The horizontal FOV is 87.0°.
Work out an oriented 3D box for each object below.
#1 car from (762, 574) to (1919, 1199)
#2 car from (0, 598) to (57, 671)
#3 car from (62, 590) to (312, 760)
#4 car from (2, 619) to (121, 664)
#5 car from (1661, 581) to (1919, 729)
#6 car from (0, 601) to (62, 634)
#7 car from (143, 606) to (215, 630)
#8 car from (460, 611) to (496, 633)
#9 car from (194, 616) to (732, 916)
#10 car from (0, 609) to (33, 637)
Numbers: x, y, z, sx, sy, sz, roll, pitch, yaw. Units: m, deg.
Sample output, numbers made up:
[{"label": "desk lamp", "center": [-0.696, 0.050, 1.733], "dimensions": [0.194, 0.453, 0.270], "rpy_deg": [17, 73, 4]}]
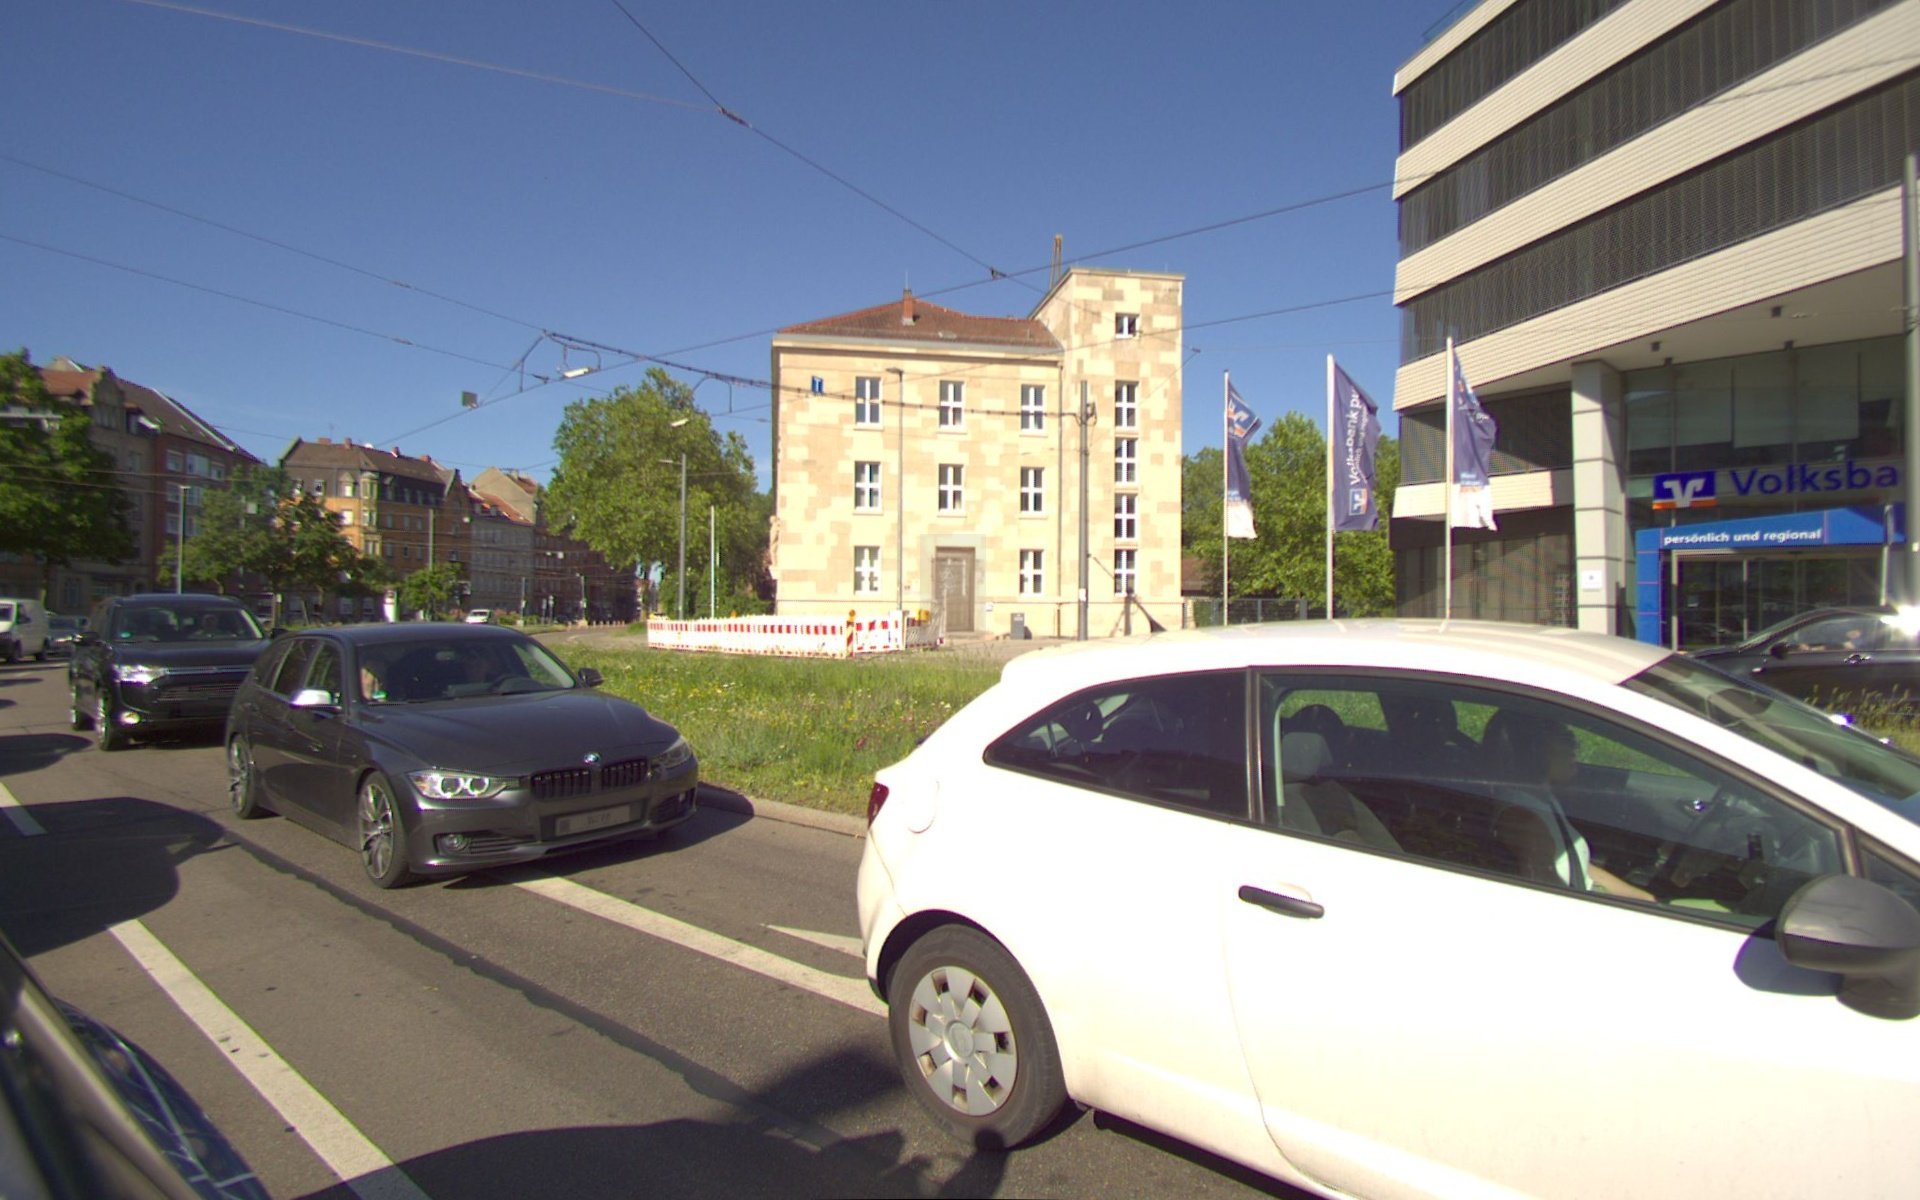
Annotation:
[{"label": "car", "center": [1.482, 0.692, 2.483], "dimensions": [4.020, 1.452, 1.714], "rpy_deg": [0, 2, 40]}, {"label": "car", "center": [-29.533, 0.995, 30.922], "dimensions": [1.950, 2.101, 4.727], "rpy_deg": [2, -1, -31]}, {"label": "car", "center": [-9.379, 0.771, 12.134], "dimensions": [1.817, 1.658, 4.400], "rpy_deg": [-1, -1, -45]}, {"label": "car", "center": [-32.579, 1.465, 36.870], "dimensions": [1.809, 1.483, 4.729], "rpy_deg": [1, -1, -23]}, {"label": "car", "center": [11.062, 0.673, 12.791], "dimensions": [3.543, 1.720, 1.563], "rpy_deg": [-1, -2, 34]}, {"label": "car", "center": [-49.927, 0.891, 52.797], "dimensions": [4.514, 1.680, 1.601], "rpy_deg": [2, -2, -43]}, {"label": "car", "center": [-53.927, 1.273, 69.879], "dimensions": [3.771, 1.603, 1.601], "rpy_deg": [2, -2, -44]}, {"label": "car", "center": [-43.710, 1.934, 91.824], "dimensions": [1.967, 1.889, 4.602], "rpy_deg": [-1, 0, -13]}, {"label": "car", "center": [-3.597, 0.825, 6.883], "dimensions": [4.424, 1.377, 1.719], "rpy_deg": [-1, 0, 41]}, {"label": "car", "center": [-48.762, 1.151, 50.391], "dimensions": [3.768, 1.390, 1.602], "rpy_deg": [2, -2, -41]}]
